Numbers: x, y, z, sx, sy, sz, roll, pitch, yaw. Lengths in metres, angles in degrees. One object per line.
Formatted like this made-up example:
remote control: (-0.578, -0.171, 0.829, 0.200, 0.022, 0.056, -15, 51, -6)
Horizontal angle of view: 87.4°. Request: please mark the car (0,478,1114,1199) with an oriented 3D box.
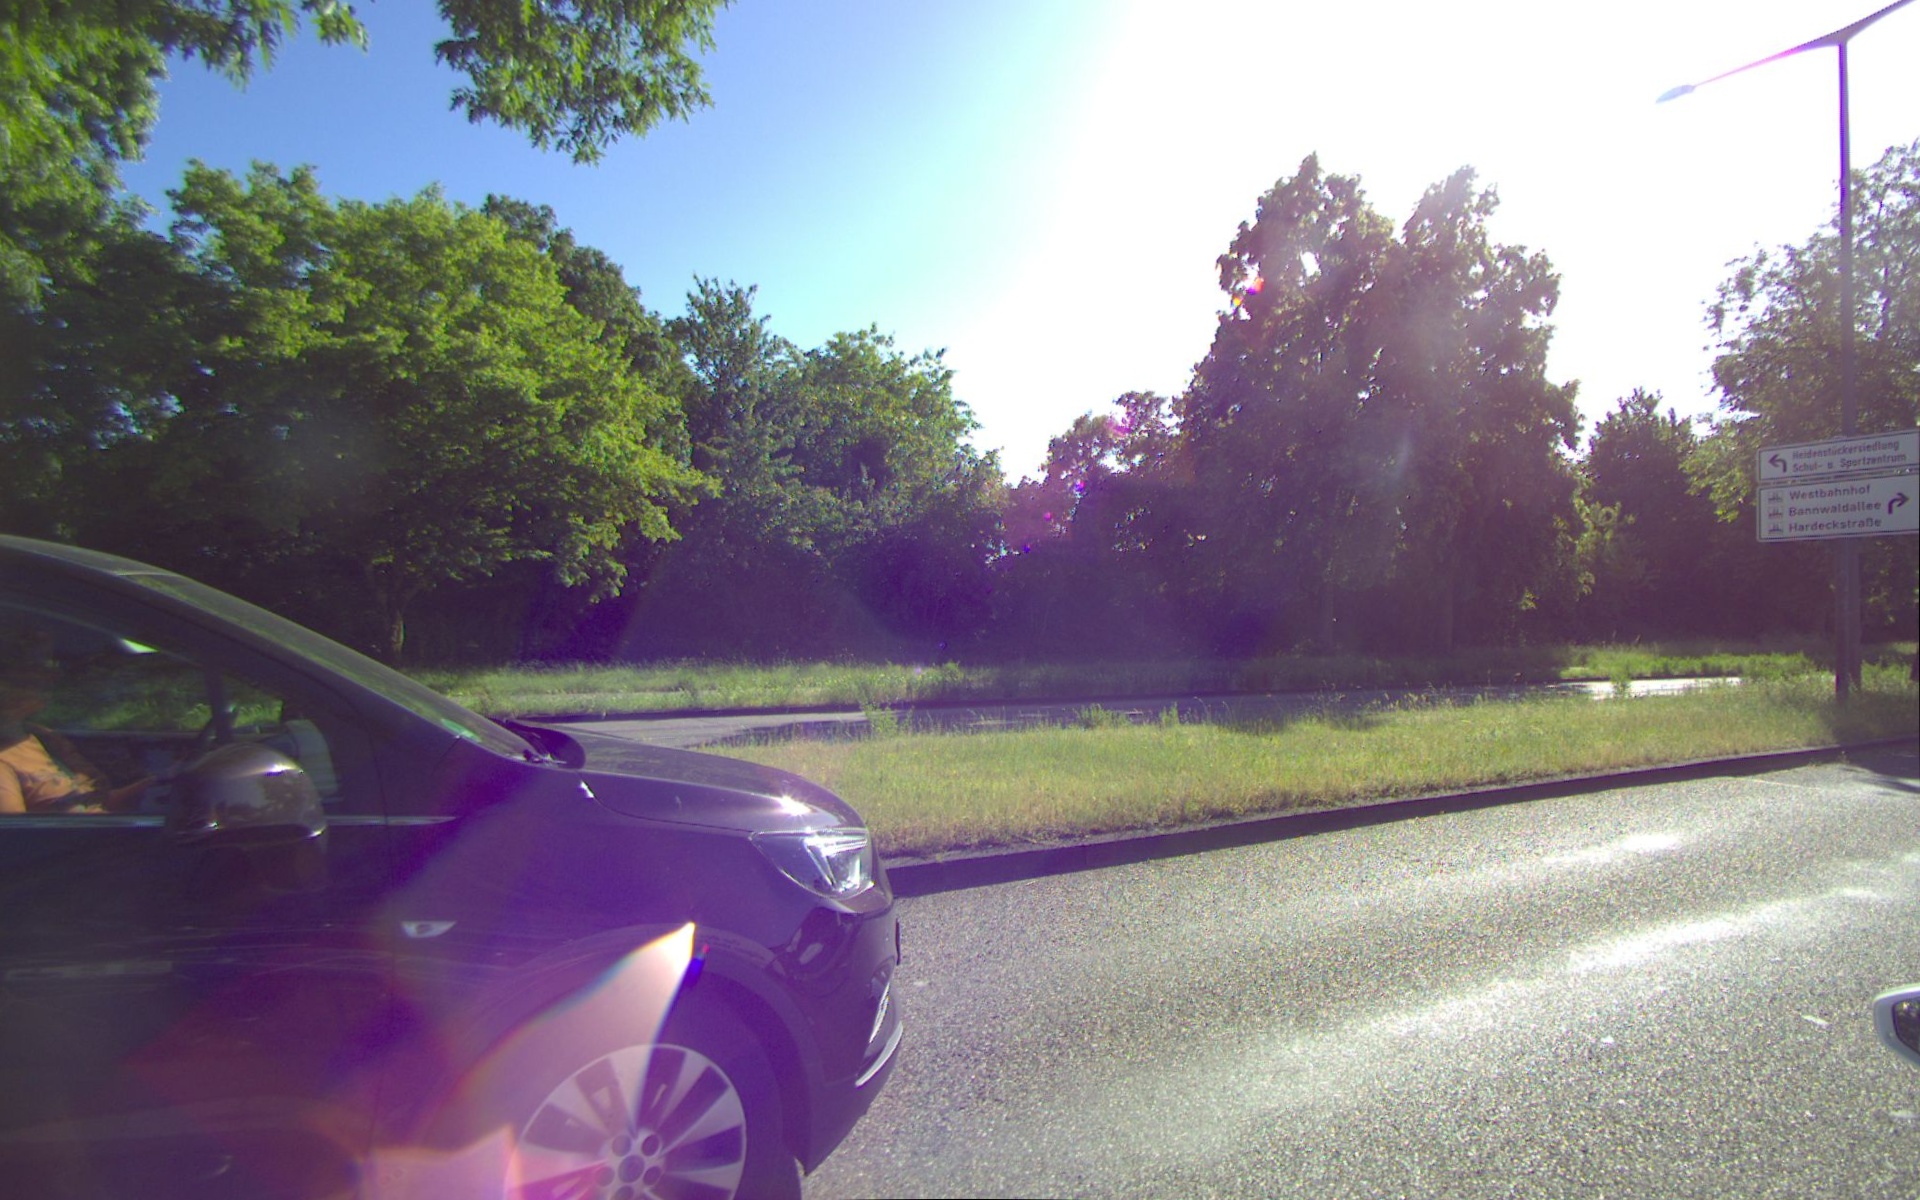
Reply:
car: (-1.911, 0.649, 2.189, 4.366, 1.653, 1.688, 1, -1, -30)
